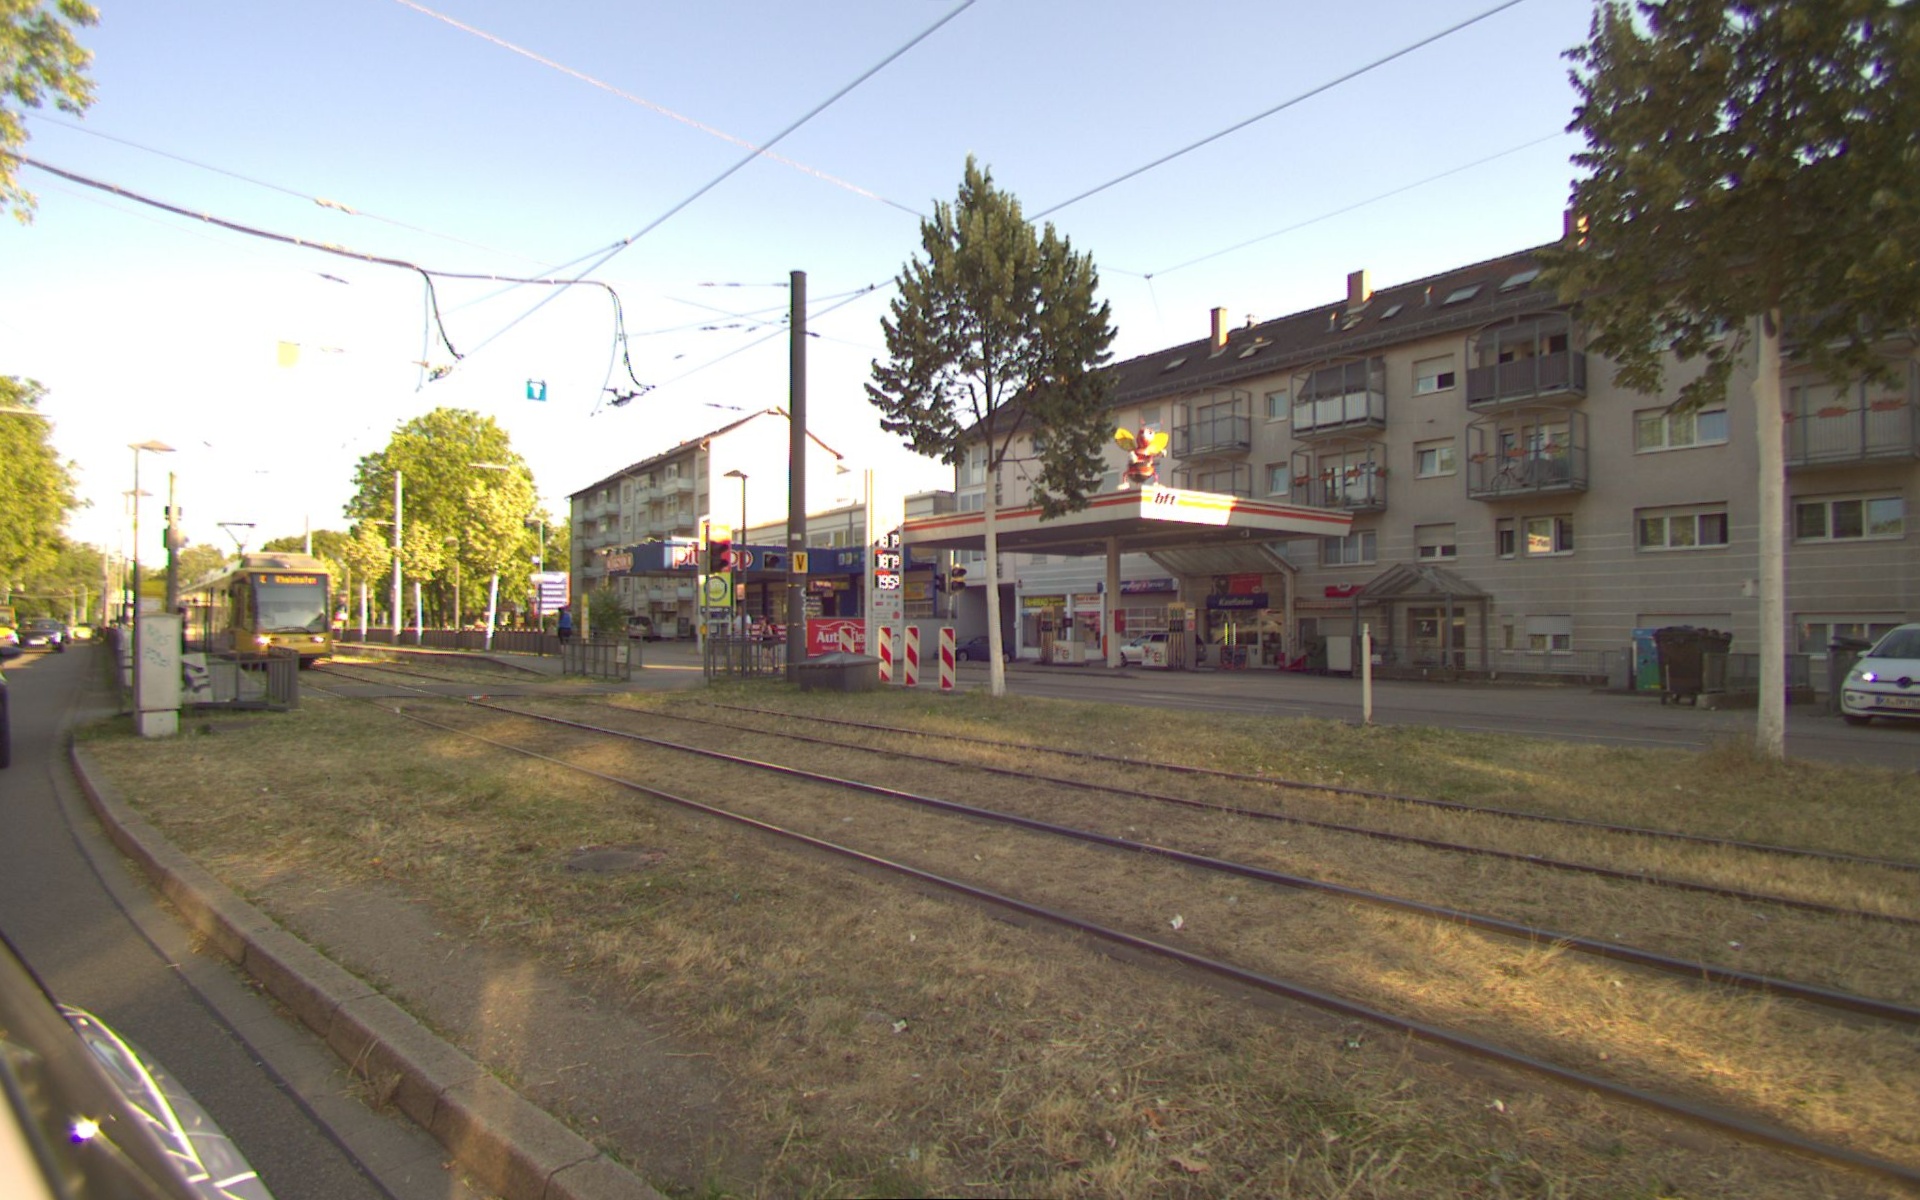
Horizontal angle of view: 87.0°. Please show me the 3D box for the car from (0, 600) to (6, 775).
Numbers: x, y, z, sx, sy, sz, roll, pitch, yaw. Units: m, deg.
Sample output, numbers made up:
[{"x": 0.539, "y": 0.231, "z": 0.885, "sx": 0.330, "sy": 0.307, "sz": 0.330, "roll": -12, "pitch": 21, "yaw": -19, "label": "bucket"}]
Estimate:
[{"x": -11.021, "y": 0.881, "z": 10.238, "sx": 1.884, "sy": 1.628, "sz": 4.088, "roll": -1, "pitch": 0, "yaw": -45, "label": "car"}]

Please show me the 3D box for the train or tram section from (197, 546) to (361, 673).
[{"x": -22.369, "y": 0.370, "z": 32.924, "sx": 2.998, "sy": 3.544, "sz": 10.110, "roll": 3, "pitch": -3, "yaw": -42, "label": "train or tram section"}]

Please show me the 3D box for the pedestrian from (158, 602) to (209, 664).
[{"x": -20.024, "y": 0.836, "z": 26.094, "sx": 0.789, "sy": 1.562, "sz": 0.906, "roll": -1, "pitch": -1, "yaw": 41, "label": "pedestrian"}]

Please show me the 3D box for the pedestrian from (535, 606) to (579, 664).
[{"x": -12.038, "y": 1.046, "z": 30.248, "sx": 0.923, "sy": 1.666, "sz": 0.927, "roll": -2, "pitch": 0, "yaw": -41, "label": "pedestrian"}]

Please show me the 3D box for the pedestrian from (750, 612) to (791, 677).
[{"x": -5.238, "y": 1.220, "z": 27.971, "sx": 0.744, "sy": 1.760, "sz": 0.861, "roll": 2, "pitch": -3, "yaw": -44, "label": "pedestrian"}]

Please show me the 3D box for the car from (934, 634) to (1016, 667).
[{"x": 0.755, "y": 2.456, "z": 49.736, "sx": 3.745, "sy": 1.535, "sz": 1.821, "roll": 1, "pitch": -2, "yaw": -38, "label": "car"}]

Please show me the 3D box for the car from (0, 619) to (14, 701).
[{"x": -21.608, "y": 1.275, "z": 21.579, "sx": 1.861, "sy": 1.678, "sz": 4.860, "roll": 0, "pitch": -1, "yaw": -40, "label": "car"}]

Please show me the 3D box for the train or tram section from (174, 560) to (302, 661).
[{"x": -29.064, "y": 0.479, "z": 40.499, "sx": 2.998, "sy": 3.544, "sz": 10.110, "roll": 3, "pitch": -3, "yaw": -42, "label": "train or tram section"}]

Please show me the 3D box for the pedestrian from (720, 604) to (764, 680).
[{"x": -5.693, "y": 1.080, "z": 26.436, "sx": 0.847, "sy": 1.947, "sz": 0.756, "roll": 2, "pitch": -3, "yaw": -43, "label": "pedestrian"}]

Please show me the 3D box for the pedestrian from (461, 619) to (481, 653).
[{"x": -28.279, "y": 2.080, "z": 58.484, "sx": 0.744, "sy": 1.896, "sz": 1.002, "roll": -2, "pitch": 0, "yaw": -42, "label": "pedestrian"}]

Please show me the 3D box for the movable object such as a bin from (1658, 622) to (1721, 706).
[{"x": 12.697, "y": 1.102, "z": 17.623, "sx": 0.655, "sy": 1.411, "sz": 0.750, "roll": 2, "pitch": -3, "yaw": -42, "label": "movable object such as a bin"}]

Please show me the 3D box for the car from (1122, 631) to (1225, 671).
[{"x": 8.617, "y": 2.022, "z": 41.007, "sx": 1.789, "sy": 1.535, "sz": 3.836, "roll": 2, "pitch": -2, "yaw": -39, "label": "car"}]

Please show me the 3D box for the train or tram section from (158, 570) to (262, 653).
[{"x": -35.762, "y": 0.579, "z": 48.066, "sx": 2.998, "sy": 3.544, "sz": 10.110, "roll": 3, "pitch": -3, "yaw": -42, "label": "train or tram section"}]

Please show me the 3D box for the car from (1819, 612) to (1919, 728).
[{"x": 14.203, "y": 0.933, "z": 14.355, "sx": 3.763, "sy": 1.523, "sz": 1.823, "roll": 0, "pitch": -1, "yaw": -29, "label": "car"}]
